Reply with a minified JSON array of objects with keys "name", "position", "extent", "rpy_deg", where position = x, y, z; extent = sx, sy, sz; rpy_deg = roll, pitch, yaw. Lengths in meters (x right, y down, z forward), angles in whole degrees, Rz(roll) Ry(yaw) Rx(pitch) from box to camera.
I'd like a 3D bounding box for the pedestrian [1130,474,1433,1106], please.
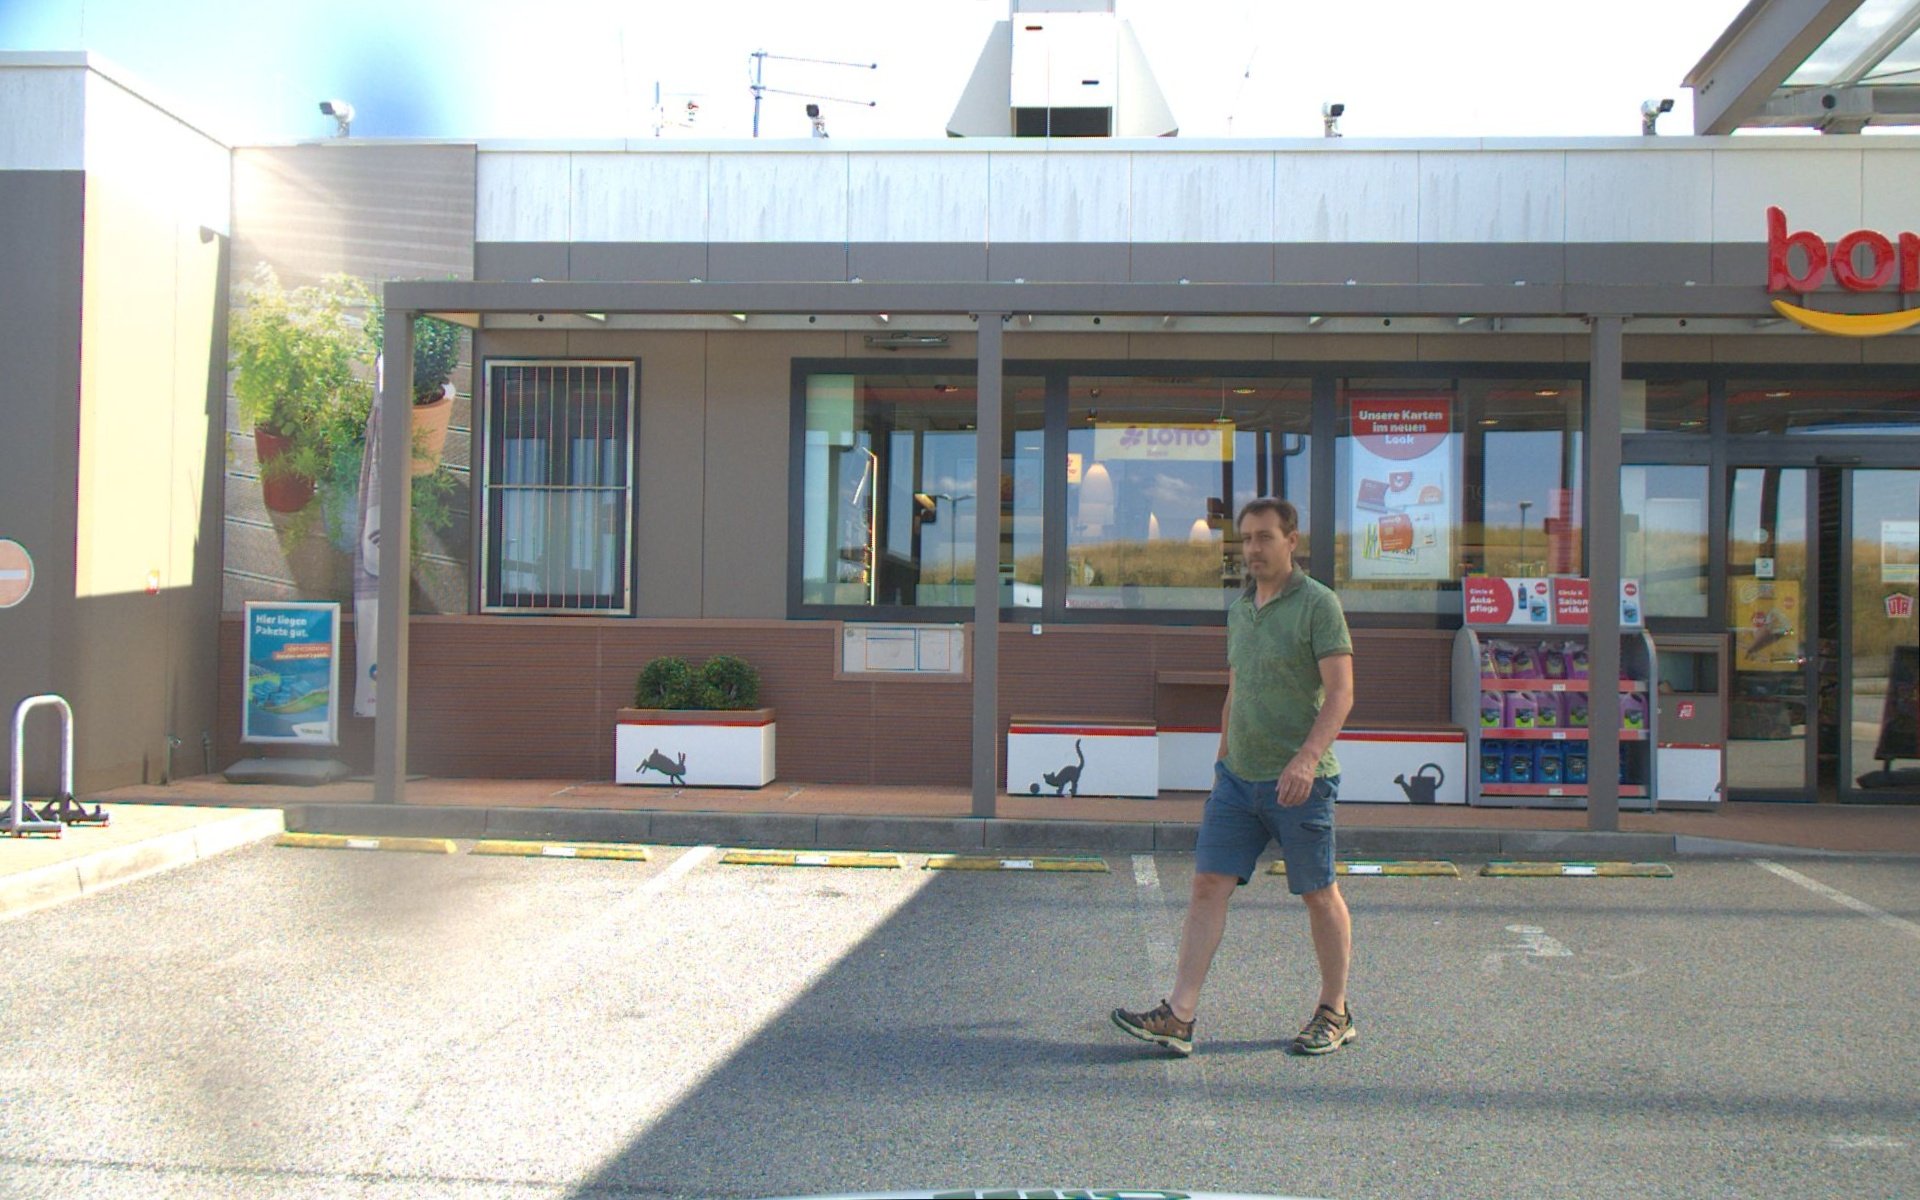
[{"name":"pedestrian","position":[1.055,0.548,5.341],"extent":[0.689,1.829,0.860],"rpy_deg":[0,0,33]}]
